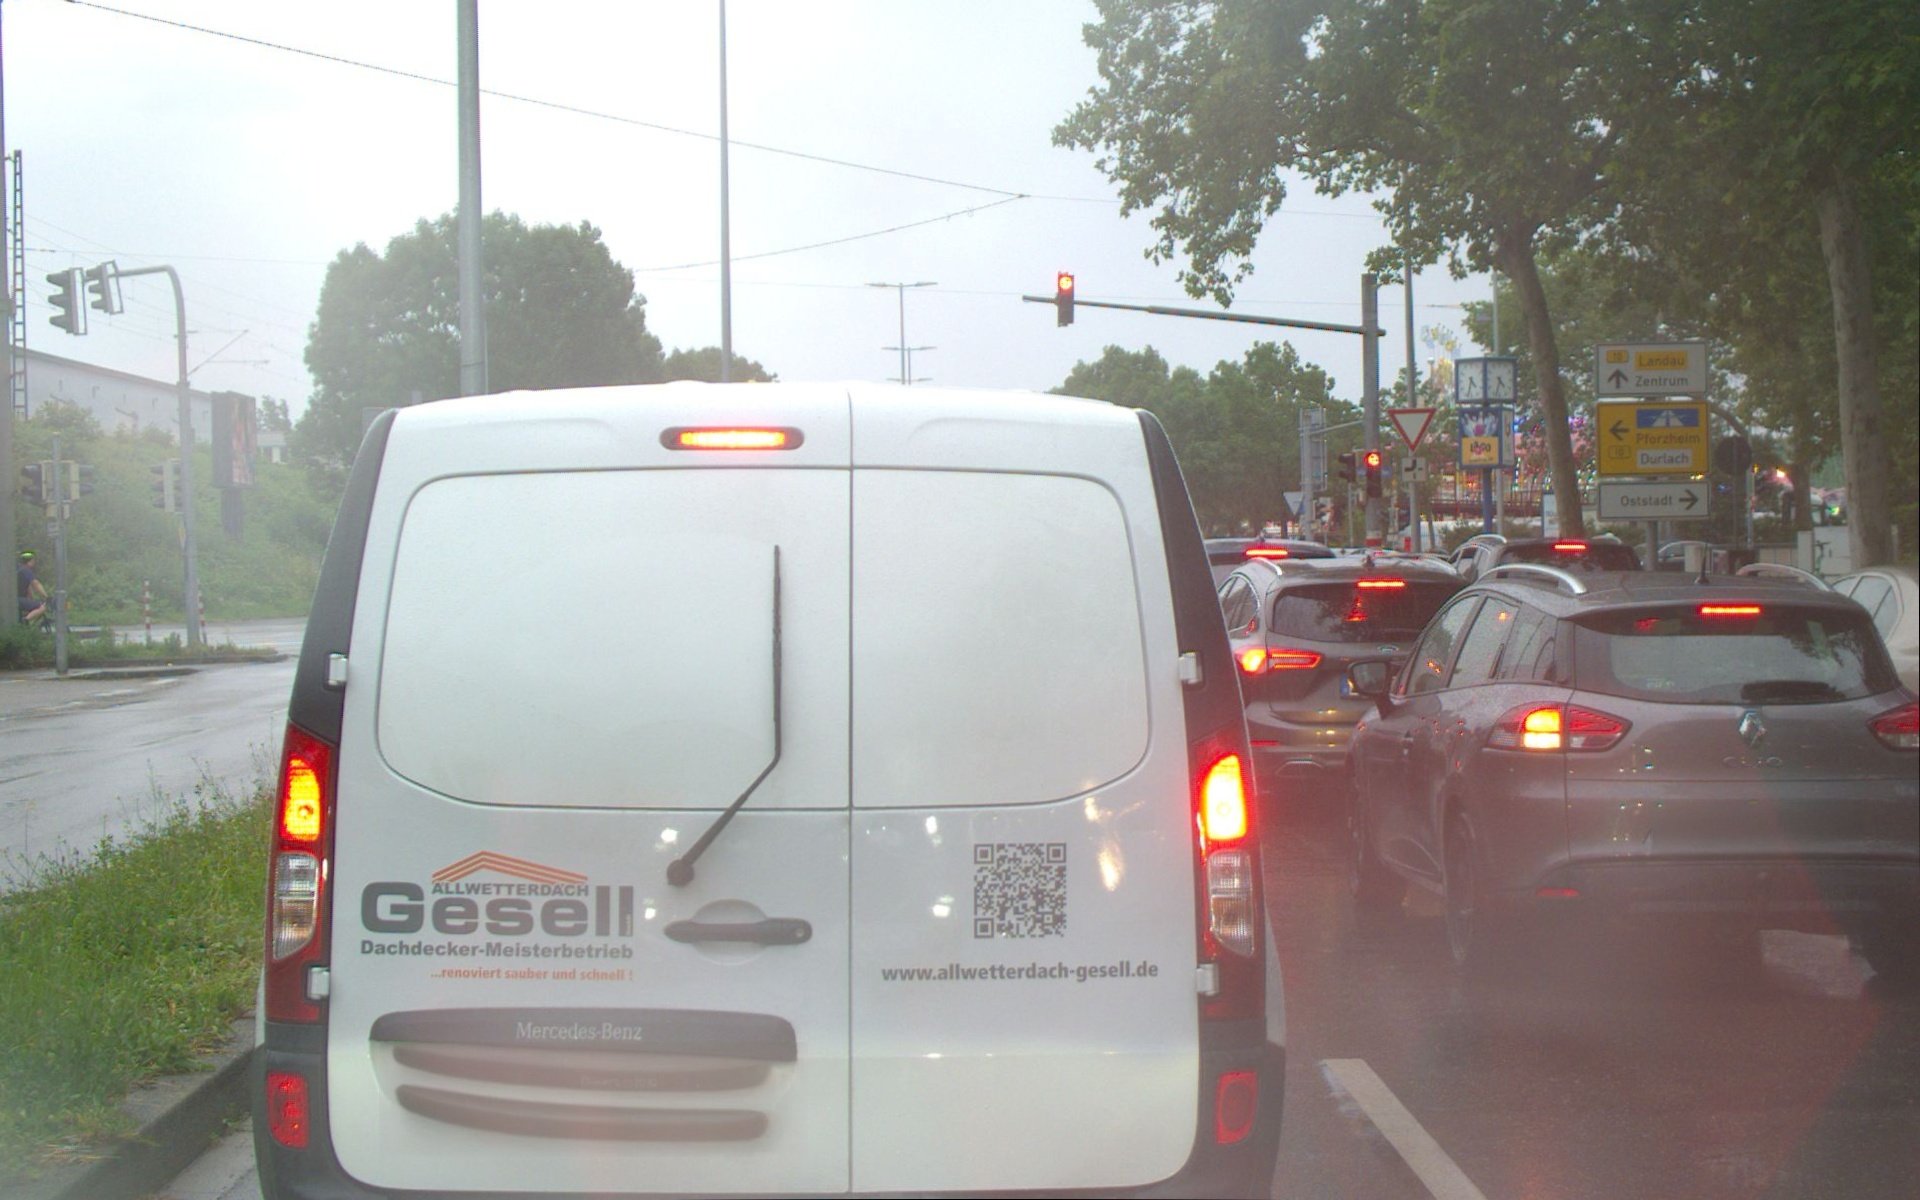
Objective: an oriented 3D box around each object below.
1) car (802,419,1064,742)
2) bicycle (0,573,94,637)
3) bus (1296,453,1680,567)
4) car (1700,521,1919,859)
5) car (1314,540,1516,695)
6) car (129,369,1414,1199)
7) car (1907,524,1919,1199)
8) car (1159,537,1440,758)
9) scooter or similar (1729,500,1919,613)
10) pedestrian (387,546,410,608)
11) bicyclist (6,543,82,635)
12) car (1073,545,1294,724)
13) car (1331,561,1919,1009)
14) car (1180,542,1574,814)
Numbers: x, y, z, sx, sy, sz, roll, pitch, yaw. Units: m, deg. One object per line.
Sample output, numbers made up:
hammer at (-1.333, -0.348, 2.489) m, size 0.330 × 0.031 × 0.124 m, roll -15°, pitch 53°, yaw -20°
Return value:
car at (-0.214, -0.179, 26.339) m, size 1.854 × 2.288 × 3.843 m, roll 0°, pitch 1°, yaw -1°
bicycle at (-14.817, 0.060, 55.572) m, size 1.040 × 0.949 × 2.889 m, roll -2°, pitch 2°, yaw -25°
bus at (16.973, -2.917, 110.873) m, size 11.970 × 3.411 × 2.315 m, roll -1°, pitch 1°, yaw 0°
car at (5.382, 0.406, 18.447) m, size 1.876 × 1.607 × 4.000 m, roll 1°, pitch 1°, yaw -1°
car at (5.060, 0.166, 38.632) m, size 1.708 × 1.644 × 3.843 m, roll 0°, pitch 1°, yaw -1°
car at (-0.315, 0.480, 7.651) m, size 1.993 × 1.770 × 4.585 m, roll 0°, pitch 1°, yaw -1°
car at (2.978, 0.648, 5.408) m, size 1.747 × 1.549 × 4.091 m, roll 0°, pitch 1°, yaw -1°
car at (2.676, 0.323, 27.860) m, size 1.854 × 1.644 × 3.843 m, roll 0°, pitch 1°, yaw -1°
scooter or similar at (19.996, -0.984, 77.059) m, size 1.890 × 2.437 × 5.316 m, roll -1°, pitch 1°, yaw -41°
pedestrian at (-15.695, -0.644, 96.116) m, size 0.543 × 1.710 × 0.563 m, roll 1°, pitch 0°, yaw -4°
bicyclist at (-14.793, -0.186, 55.523) m, size 1.040 × 1.445 × 0.729 m, roll -2°, pitch 2°, yaw -25°
car at (2.120, 0.296, 33.523) m, size 1.854 × 1.644 × 3.843 m, roll 0°, pitch 1°, yaw -1°
car at (2.518, 0.585, 13.103) m, size 1.683 × 1.403 × 3.843 m, roll 1°, pitch 1°, yaw -1°
car at (2.392, 0.390, 20.631) m, size 1.854 × 1.455 × 3.843 m, roll 0°, pitch 1°, yaw -1°
